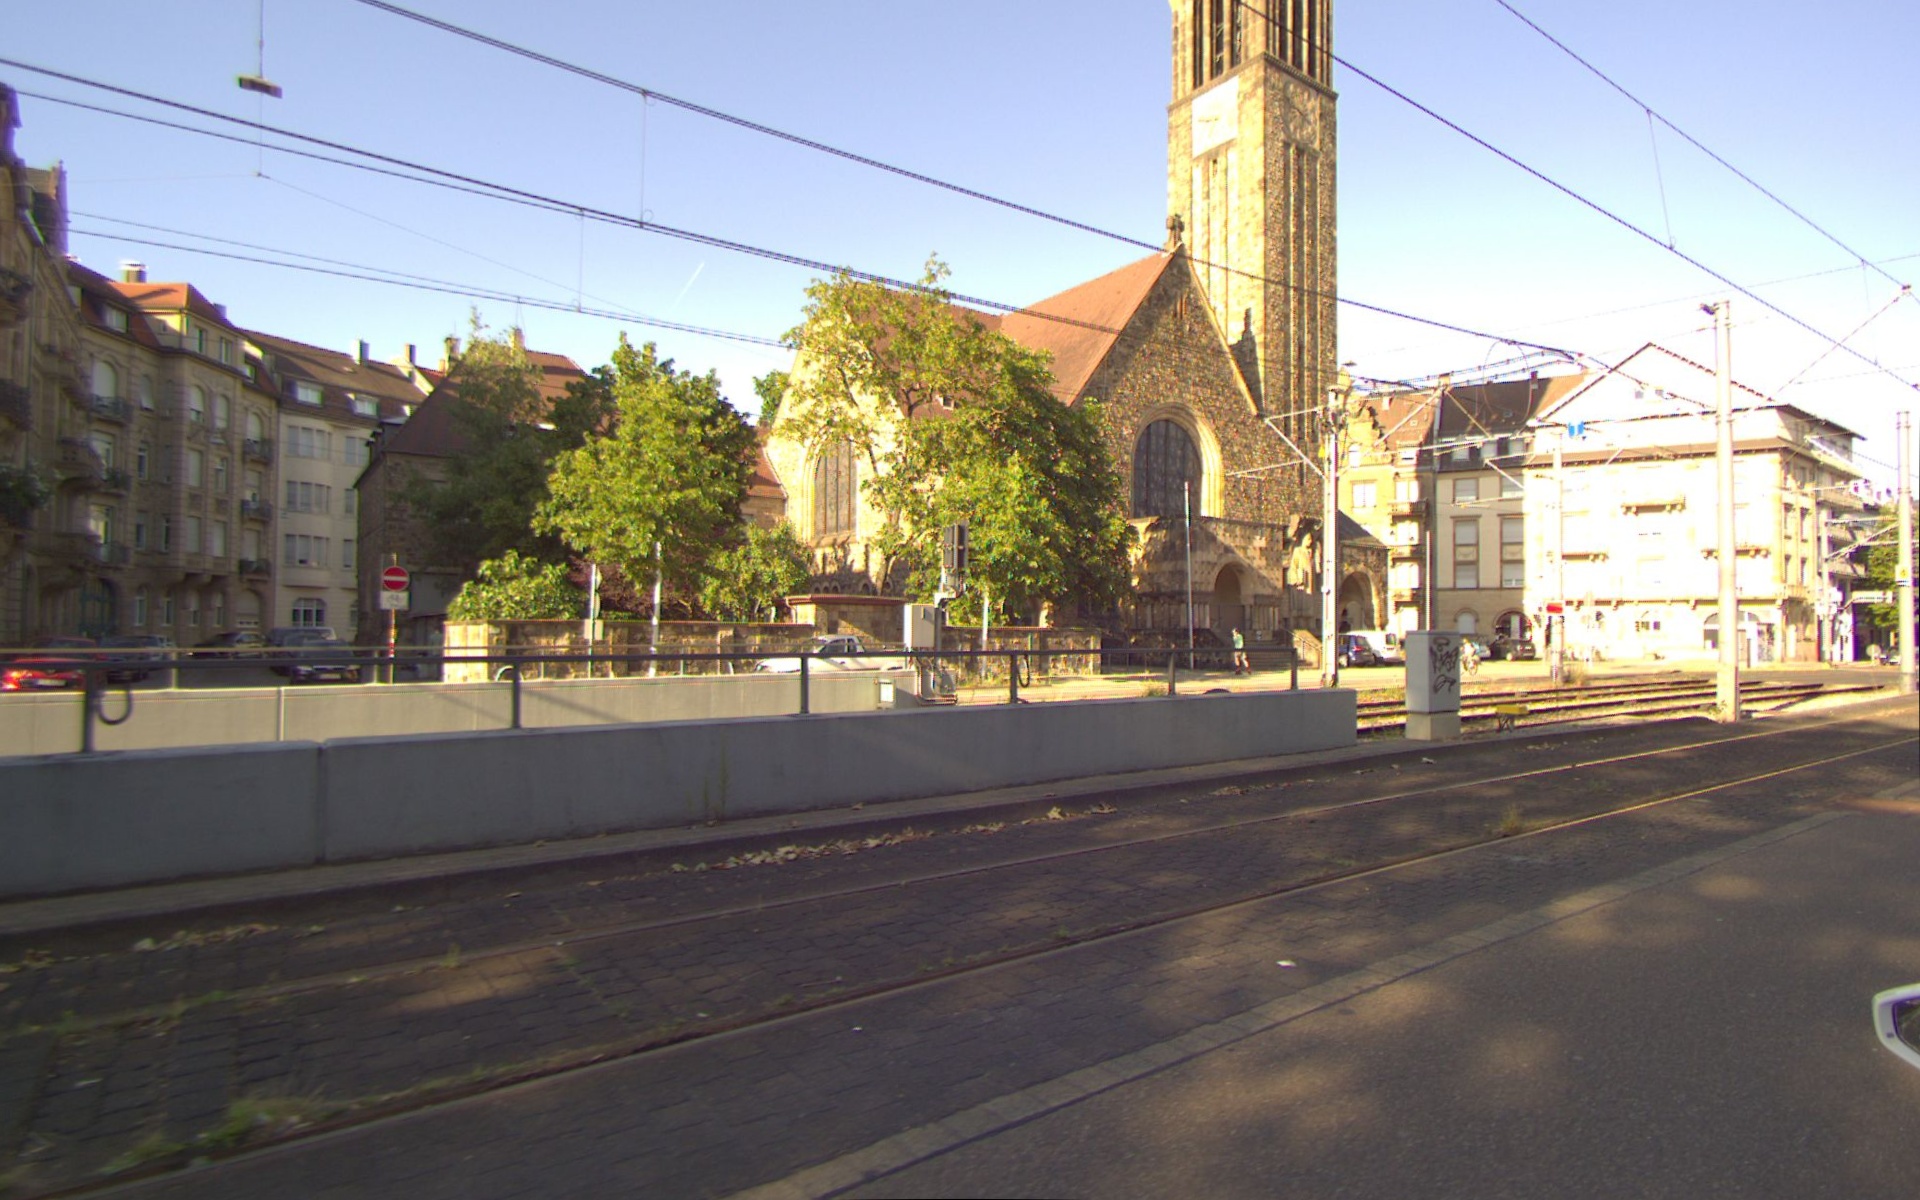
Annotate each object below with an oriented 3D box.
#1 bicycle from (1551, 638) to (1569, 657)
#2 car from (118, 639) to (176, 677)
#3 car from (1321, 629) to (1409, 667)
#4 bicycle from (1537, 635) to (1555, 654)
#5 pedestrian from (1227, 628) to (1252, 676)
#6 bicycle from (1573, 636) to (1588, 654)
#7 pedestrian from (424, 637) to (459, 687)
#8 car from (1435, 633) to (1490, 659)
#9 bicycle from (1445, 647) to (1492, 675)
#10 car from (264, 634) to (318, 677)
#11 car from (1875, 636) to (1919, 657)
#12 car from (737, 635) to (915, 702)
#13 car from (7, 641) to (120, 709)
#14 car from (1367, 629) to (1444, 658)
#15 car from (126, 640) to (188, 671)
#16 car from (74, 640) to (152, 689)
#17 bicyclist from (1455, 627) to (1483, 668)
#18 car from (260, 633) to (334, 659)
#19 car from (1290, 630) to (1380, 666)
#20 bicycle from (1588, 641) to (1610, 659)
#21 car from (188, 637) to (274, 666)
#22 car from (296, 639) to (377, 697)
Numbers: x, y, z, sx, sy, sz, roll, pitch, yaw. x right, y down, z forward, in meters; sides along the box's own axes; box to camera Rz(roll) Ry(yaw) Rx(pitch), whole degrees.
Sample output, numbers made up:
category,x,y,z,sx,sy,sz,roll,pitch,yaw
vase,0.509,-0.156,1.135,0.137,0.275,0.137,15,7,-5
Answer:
category,x,y,z,sx,sy,sz,roll,pitch,yaw
bicycle,45.304,3.569,75.910,0.808,1.300,2.563,1,0,23
car,-35.654,2.523,44.120,1.803,1.589,3.959,1,-3,-37
car,21.340,2.480,53.028,1.874,1.780,3.963,1,0,-33
bicycle,44.491,3.365,76.277,0.808,1.300,2.563,1,0,23
pedestrian,11.267,2.078,40.524,0.749,1.913,0.601,1,1,-33
bicycle,46.333,3.347,75.020,0.810,1.300,2.556,1,0,35
pedestrian,-17.238,2.040,33.405,0.920,1.609,0.744,1,0,-20
car,39.581,3.594,79.297,1.961,1.776,4.597,1,0,-1
bicycle,22.157,2.642,43.764,2.251,1.159,0.629,1,-4,-30
car,-30.376,2.489,45.556,1.803,1.821,3.959,1,-3,-37
car,69.178,3.378,73.819,4.793,1.468,1.980,1,-2,-36
car,-3.557,1.777,27.084,4.464,1.576,1.705,1,0,-35
car,-23.155,1.890,26.078,1.803,1.589,3.959,1,-3,-37
car,31.931,3.093,72.014,4.847,1.776,1.997,1,0,28
car,-39.217,2.706,49.135,1.798,1.424,3.968,1,-3,-30
car,-29.450,2.198,35.031,1.803,1.589,3.959,1,-3,-37
bicyclist,22.182,2.083,43.811,0.904,1.745,0.629,0,-3,-29
car,-40.948,2.839,62.142,1.783,1.508,4.002,-1,-2,1
car,19.093,2.412,51.267,1.874,1.651,3.963,1,0,-33
bicycle,47.604,3.705,74.813,2.548,1.300,0.813,1,0,-45
car,-40.712,2.857,56.209,1.783,1.508,4.002,-1,-2,1
car,-19.340,2.058,31.088,1.803,1.673,3.959,1,-3,-37
